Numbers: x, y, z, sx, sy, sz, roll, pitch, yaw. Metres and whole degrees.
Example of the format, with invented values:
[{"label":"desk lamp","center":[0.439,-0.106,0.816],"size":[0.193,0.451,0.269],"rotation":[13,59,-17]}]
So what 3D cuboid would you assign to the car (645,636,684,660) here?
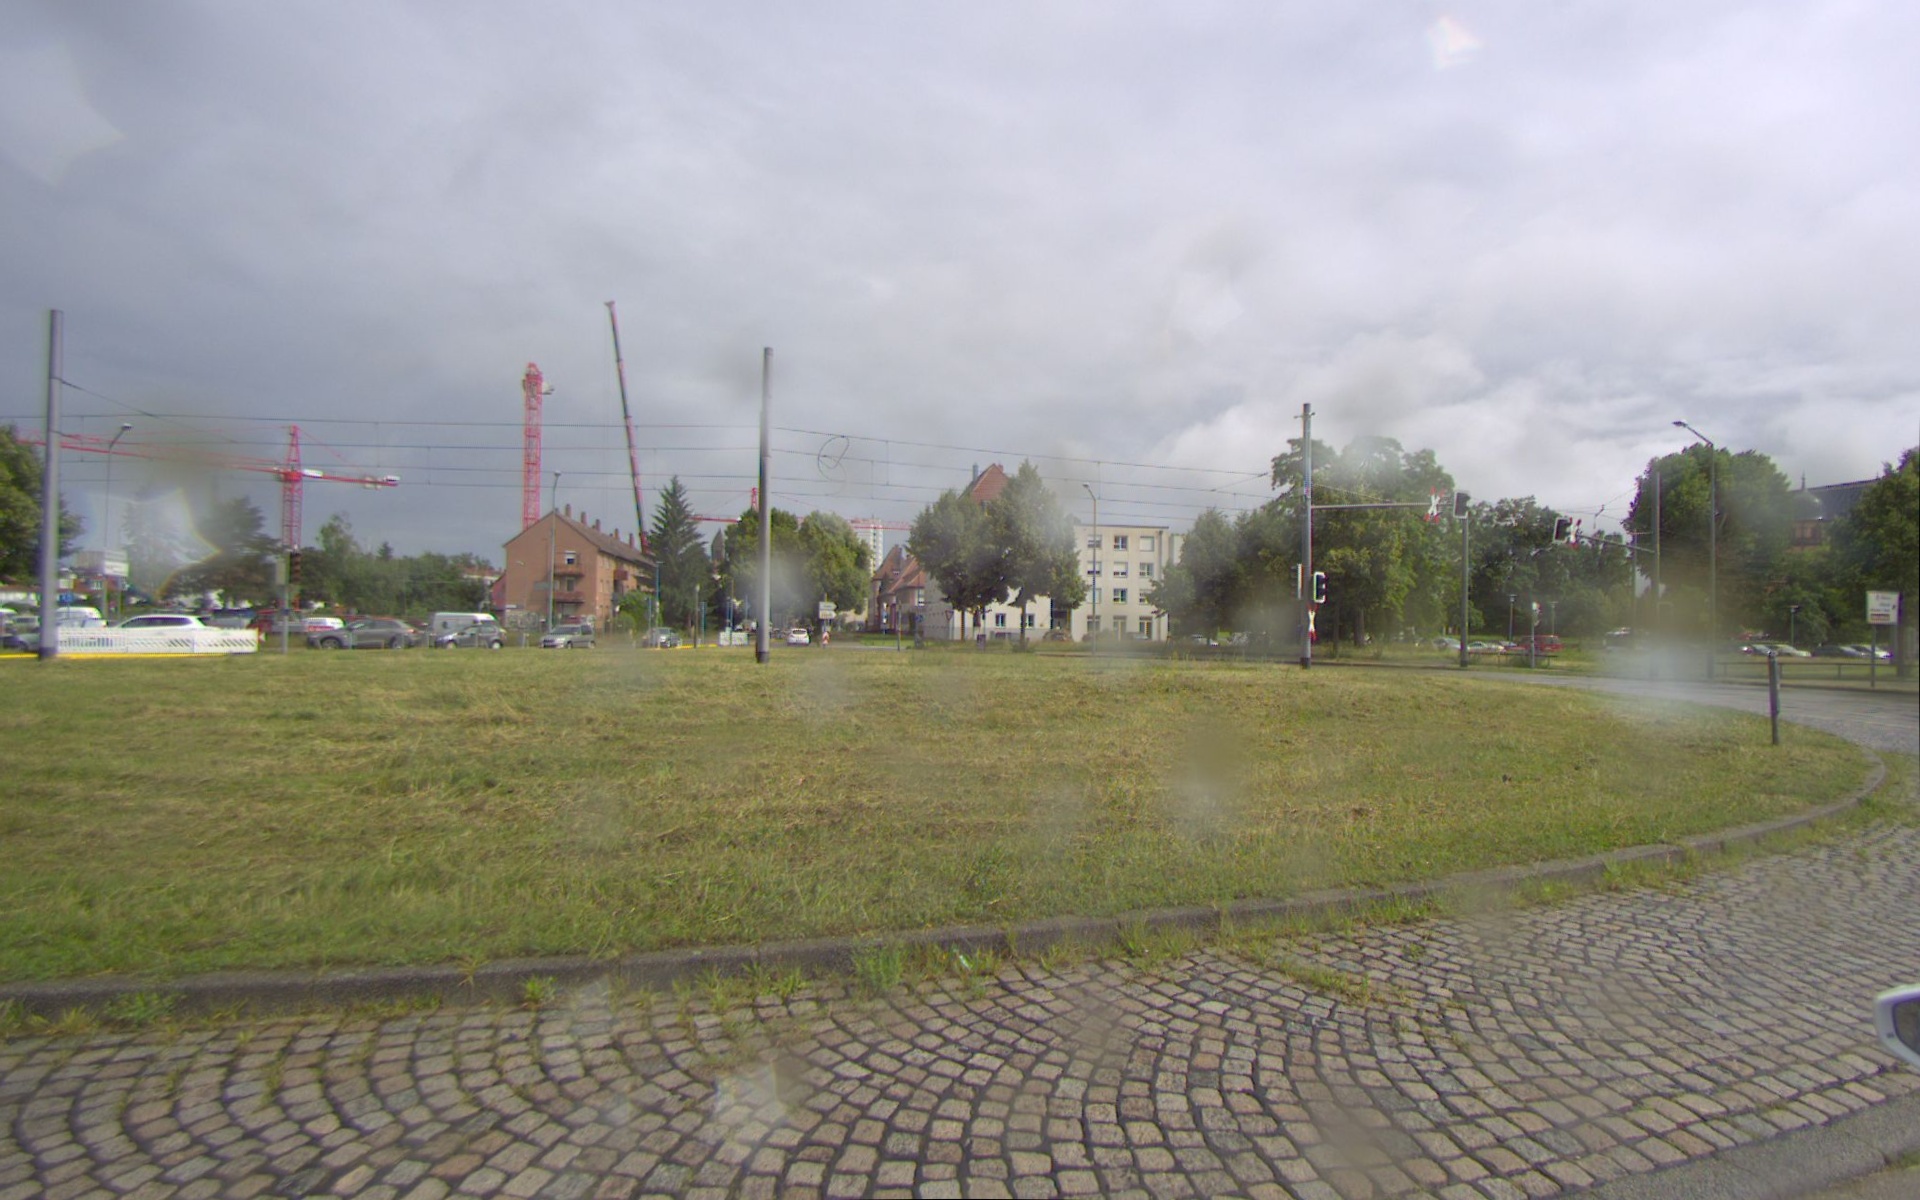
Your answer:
[{"label":"car","center":[-21.105,3.397,71.813],"size":[1.568,1.581,3.551],"rotation":[1,-1,2]}]

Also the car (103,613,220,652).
[{"label":"car","center":[-33.106,1.354,41.719],"size":[3.447,1.530,1.493],"rotation":[1,-1,-20]}]

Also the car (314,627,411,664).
[{"label":"car","center":[-26.845,2.031,45.147],"size":[3.640,1.581,1.559],"rotation":[2,-1,-34]}]

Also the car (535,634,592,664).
[{"label":"car","center":[-22.460,2.757,57.063],"size":[1.519,1.581,3.502],"rotation":[1,-1,6]}]

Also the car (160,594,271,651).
[{"label":"car","center":[-35.282,1.122,47.720],"size":[3.953,2.601,1.784],"rotation":[2,-2,-30]}]

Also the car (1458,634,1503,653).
[{"label":"car","center":[43.422,3.641,83.900],"size":[1.614,1.481,3.608],"rotation":[1,-2,-6]}]

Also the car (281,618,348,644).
[{"label":"car","center":[-47.918,2.286,74.614],"size":[3.919,1.722,1.859],"rotation":[3,-2,10]}]

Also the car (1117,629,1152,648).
[{"label":"car","center":[15.855,3.482,91.564],"size":[1.819,1.573,4.098],"rotation":[1,1,-10]}]

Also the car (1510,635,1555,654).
[{"label":"car","center":[48.304,3.769,84.842],"size":[1.618,1.530,3.649],"rotation":[1,-2,-4]}]

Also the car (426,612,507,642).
[{"label":"car","center":[-40.471,2.234,82.397],"size":[6.140,2.112,2.044],"rotation":[3,-1,17]}]

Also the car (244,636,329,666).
[{"label":"car","center":[-39.956,3.020,59.692],"size":[3.949,1.706,1.986],"rotation":[1,-1,-28]}]

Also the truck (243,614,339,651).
[{"label":"truck","center":[-46.425,2.238,69.716],"size":[5.980,2.240,2.398],"rotation":[2,-1,20]}]

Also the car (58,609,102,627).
[{"label":"car","center":[-89.960,1.860,102.688],"size":[3.527,1.745,1.501],"rotation":[0,-1,9]}]

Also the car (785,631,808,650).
[{"label":"car","center":[-13.743,3.394,84.325],"size":[1.524,1.473,3.489],"rotation":[1,-1,-15]}]

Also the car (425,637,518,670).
[{"label":"car","center":[-25.393,2.759,52.361],"size":[1.769,1.606,3.985],"rotation":[0,-1,37]}]

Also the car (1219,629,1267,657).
[{"label":"car","center":[22.879,3.451,81.436],"size":[2.073,2.085,5.157],"rotation":[0,-1,-5]}]

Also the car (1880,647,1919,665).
[{"label":"car","center":[86.360,5.064,91.126],"size":[1.817,1.580,3.973],"rotation":[1,-2,-9]}]

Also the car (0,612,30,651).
[{"label":"car","center":[-39.969,1.218,39.971],"size":[3.932,1.537,1.798],"rotation":[1,-1,-14]}]

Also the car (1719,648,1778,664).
[{"label":"car","center":[69.671,4.907,88.811],"size":[1.817,1.325,3.973],"rotation":[1,-2,-9]}]

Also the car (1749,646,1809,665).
[{"label":"car","center":[72.419,4.892,88.868],"size":[1.817,1.580,3.973],"rotation":[1,-2,-9]}]
